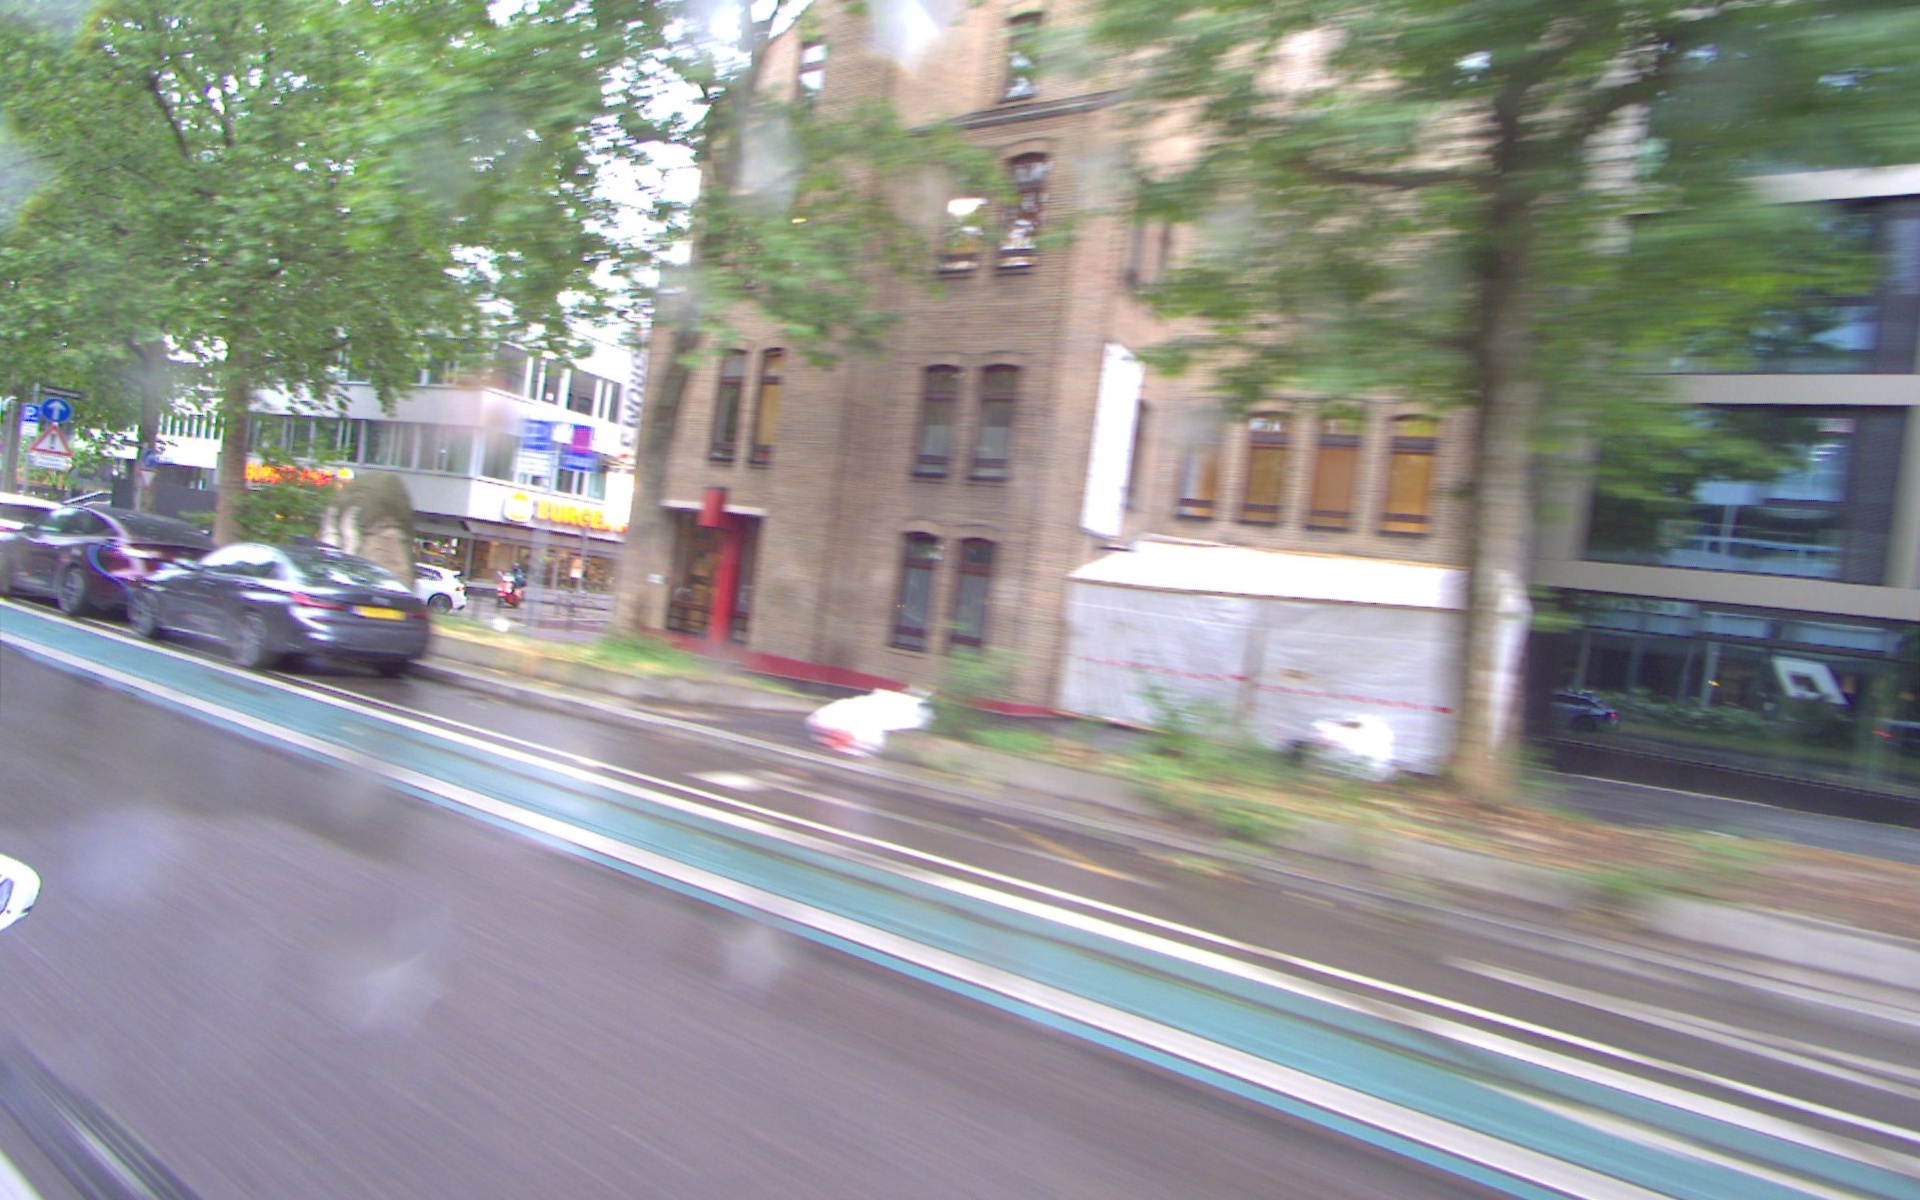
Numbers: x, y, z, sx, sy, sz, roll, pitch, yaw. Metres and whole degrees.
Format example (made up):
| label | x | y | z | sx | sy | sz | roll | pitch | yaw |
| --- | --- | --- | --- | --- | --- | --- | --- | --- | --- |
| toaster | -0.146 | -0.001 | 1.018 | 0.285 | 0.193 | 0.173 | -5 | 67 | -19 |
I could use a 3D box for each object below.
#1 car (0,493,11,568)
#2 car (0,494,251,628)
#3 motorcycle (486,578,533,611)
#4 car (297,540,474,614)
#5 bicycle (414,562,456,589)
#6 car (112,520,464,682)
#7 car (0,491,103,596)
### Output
| label | x | y | z | sx | sy | sz | roll | pitch | yaw |
| --- | --- | --- | --- | --- | --- | --- | --- | --- | --- |
| car | -21.495 | -1.650 | 20.618 | 3.954 | 1.540 | 1.700 | 6 | -2 | 28 |
| car | -13.366 | -0.651 | 15.737 | 4.481 | 1.537 | 1.872 | 6 | -3 | 30 |
| motorcycle | -17.065 | -0.214 | 38.105 | 0.610 | 1.041 | 1.430 | 6 | -3 | 29 |
| car | -17.408 | -0.677 | 30.570 | 4.233 | 1.584 | 2.032 | 10 | -3 | -42 |
| bicycle | -20.948 | -0.985 | 40.126 | 1.993 | 0.846 | 0.449 | 6 | -2 | 32 |
| car | -8.628 | -0.016 | 12.825 | 4.534 | 1.437 | 1.877 | 6 | -3 | 31 |
| car | -17.502 | -1.149 | 18.027 | 4.002 | 1.589 | 1.733 | 6 | -2 | 27 |
